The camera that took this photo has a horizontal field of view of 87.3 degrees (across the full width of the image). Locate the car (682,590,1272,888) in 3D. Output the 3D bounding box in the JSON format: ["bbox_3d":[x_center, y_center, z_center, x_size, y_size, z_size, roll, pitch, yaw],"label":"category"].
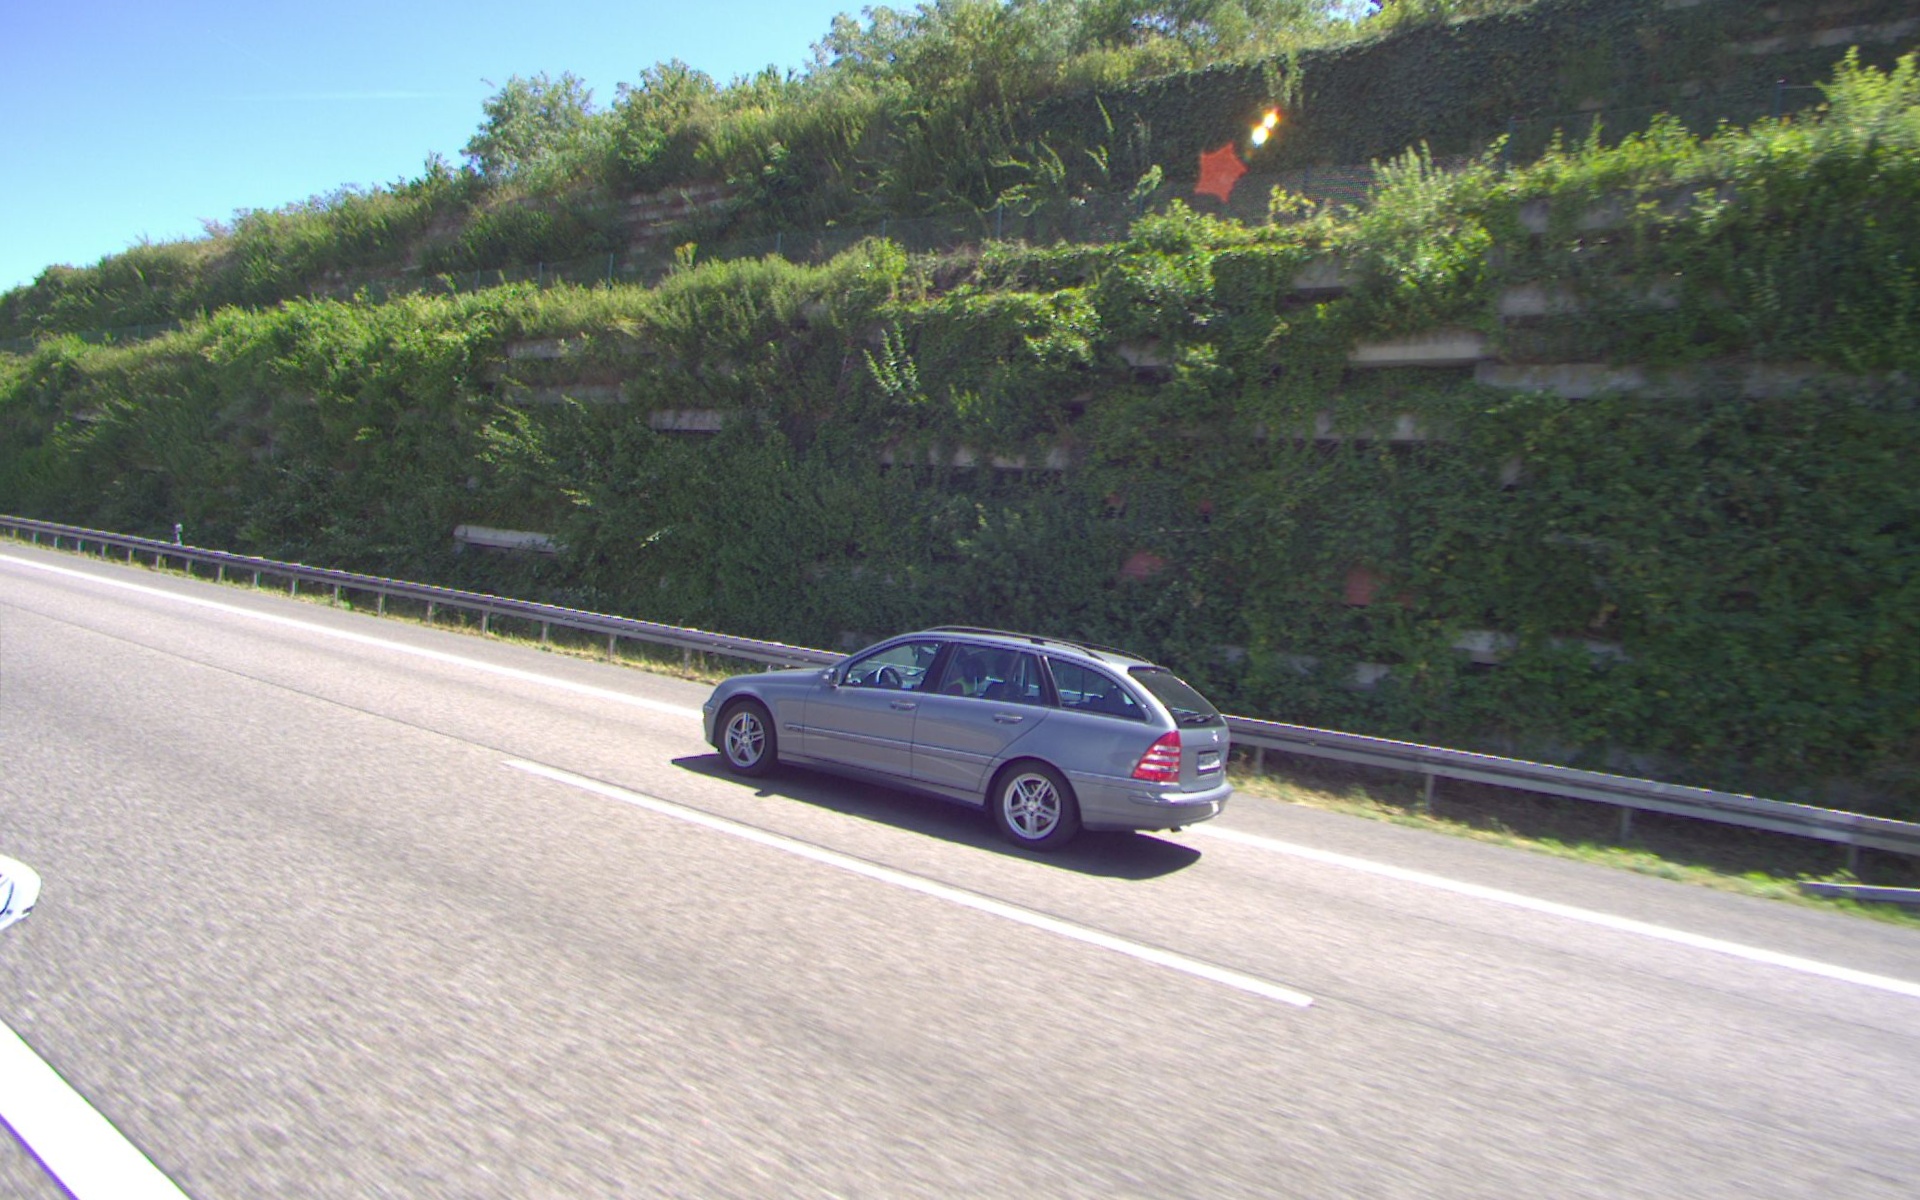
[{"bbox_3d":[0.018,0.928,8.110,4.378,1.445,1.687,7,-1,31],"label":"car"}]
